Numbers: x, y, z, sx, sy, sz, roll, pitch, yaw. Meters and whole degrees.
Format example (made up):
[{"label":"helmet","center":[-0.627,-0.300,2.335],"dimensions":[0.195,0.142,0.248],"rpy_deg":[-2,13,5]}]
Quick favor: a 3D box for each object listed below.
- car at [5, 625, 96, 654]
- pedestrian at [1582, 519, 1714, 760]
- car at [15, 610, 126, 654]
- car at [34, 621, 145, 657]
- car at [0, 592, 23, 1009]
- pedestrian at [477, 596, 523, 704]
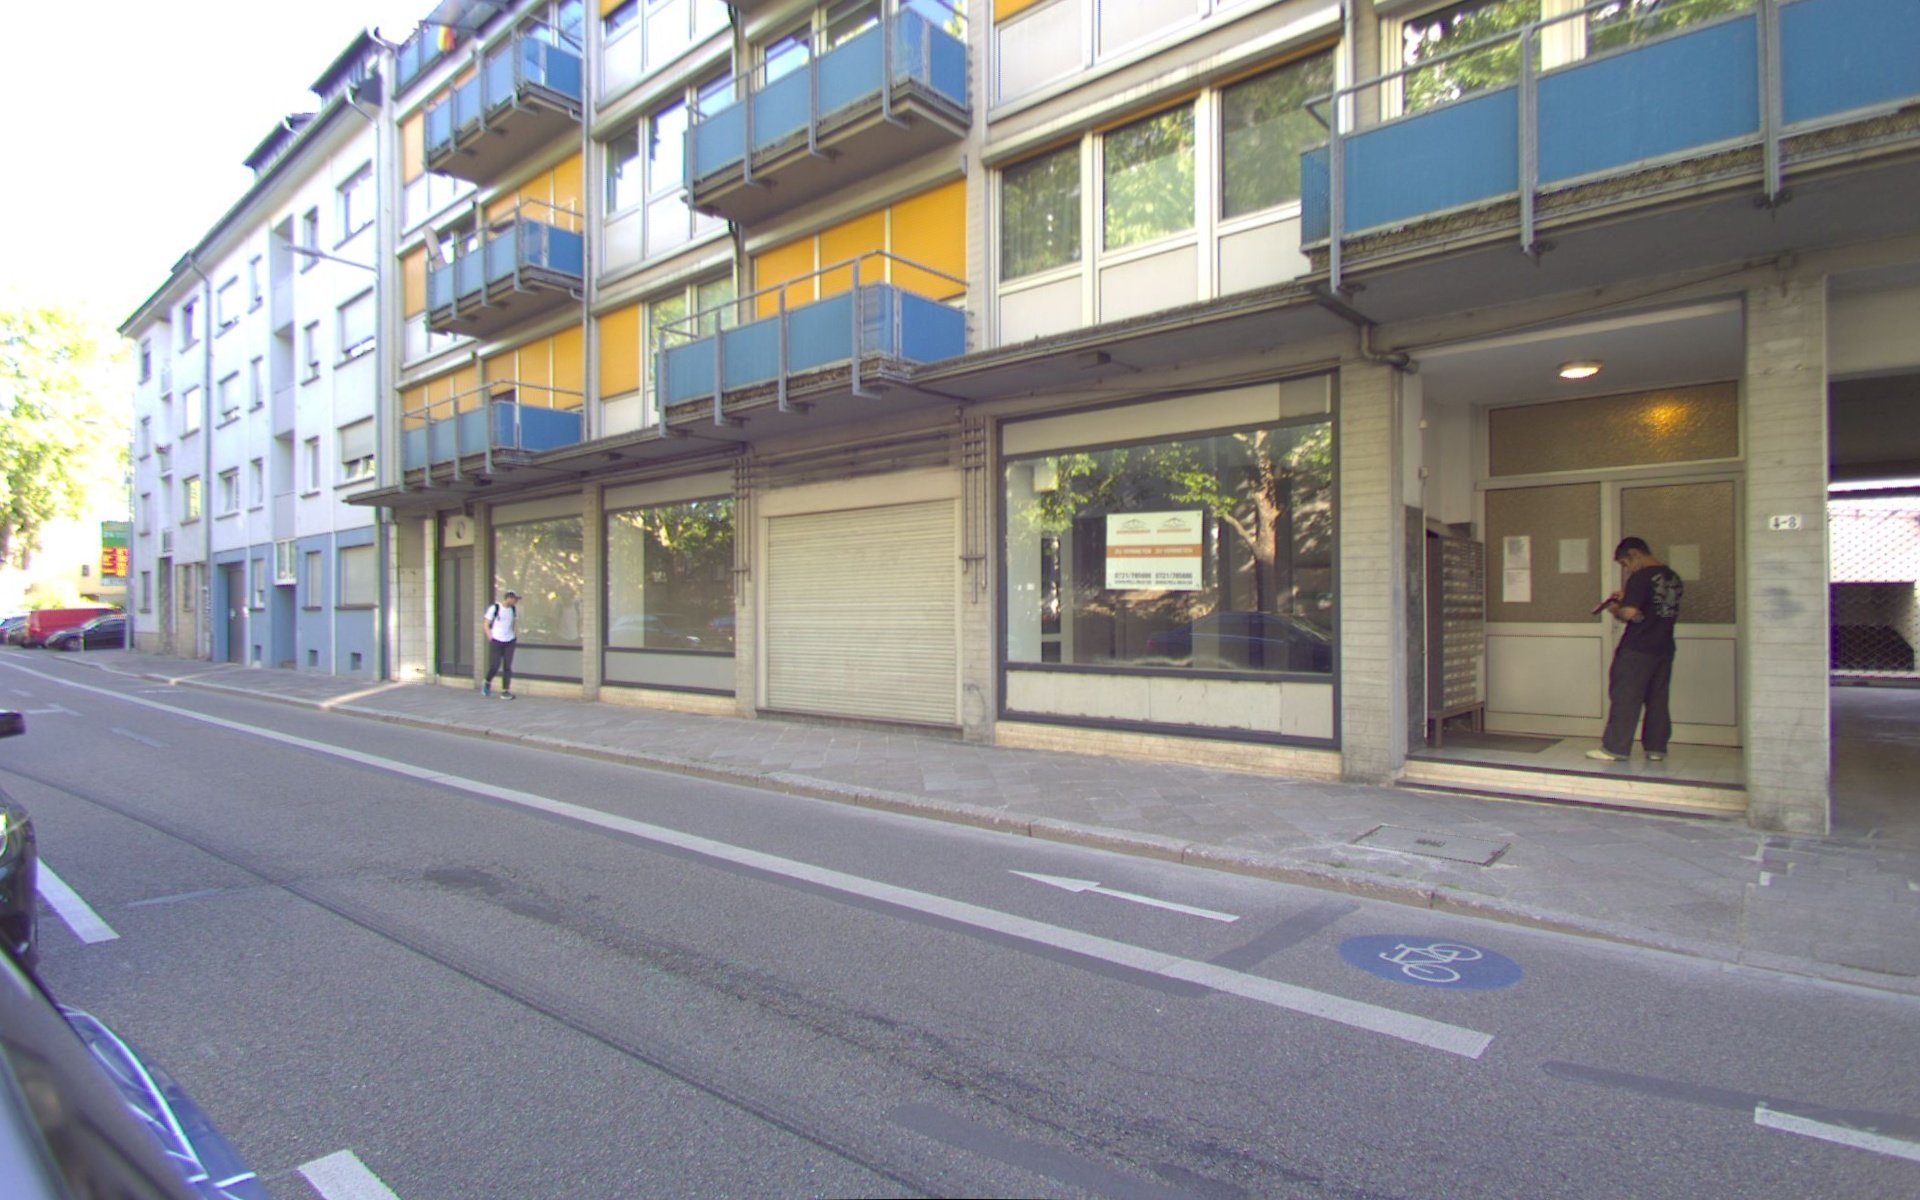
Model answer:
[{"label":"car","center":[-45.999,1.966,51.228],"dimensions":[1.294,1.258,3.283],"rpy_deg":[-1,0,40]},{"label":"pedestrian","center":[5.196,0.295,7.675],"dimensions":[0.623,1.754,0.526],"rpy_deg":[-1,-1,8]},{"label":"car","center":[-43.708,1.537,49.797],"dimensions":[1.635,1.937,3.878],"rpy_deg":[-1,0,40]},{"label":"car","center":[-39.787,1.749,46.290],"dimensions":[1.635,1.422,3.623],"rpy_deg":[-1,0,40]},{"label":"car","center":[-5.504,0.765,4.303],"dimensions":[4.123,1.475,1.781],"rpy_deg":[-1,0,41]},{"label":"pedestrian","center":[-7.589,0.815,16.704],"dimensions":[0.343,1.739,0.562],"rpy_deg":[-1,0,41]}]
